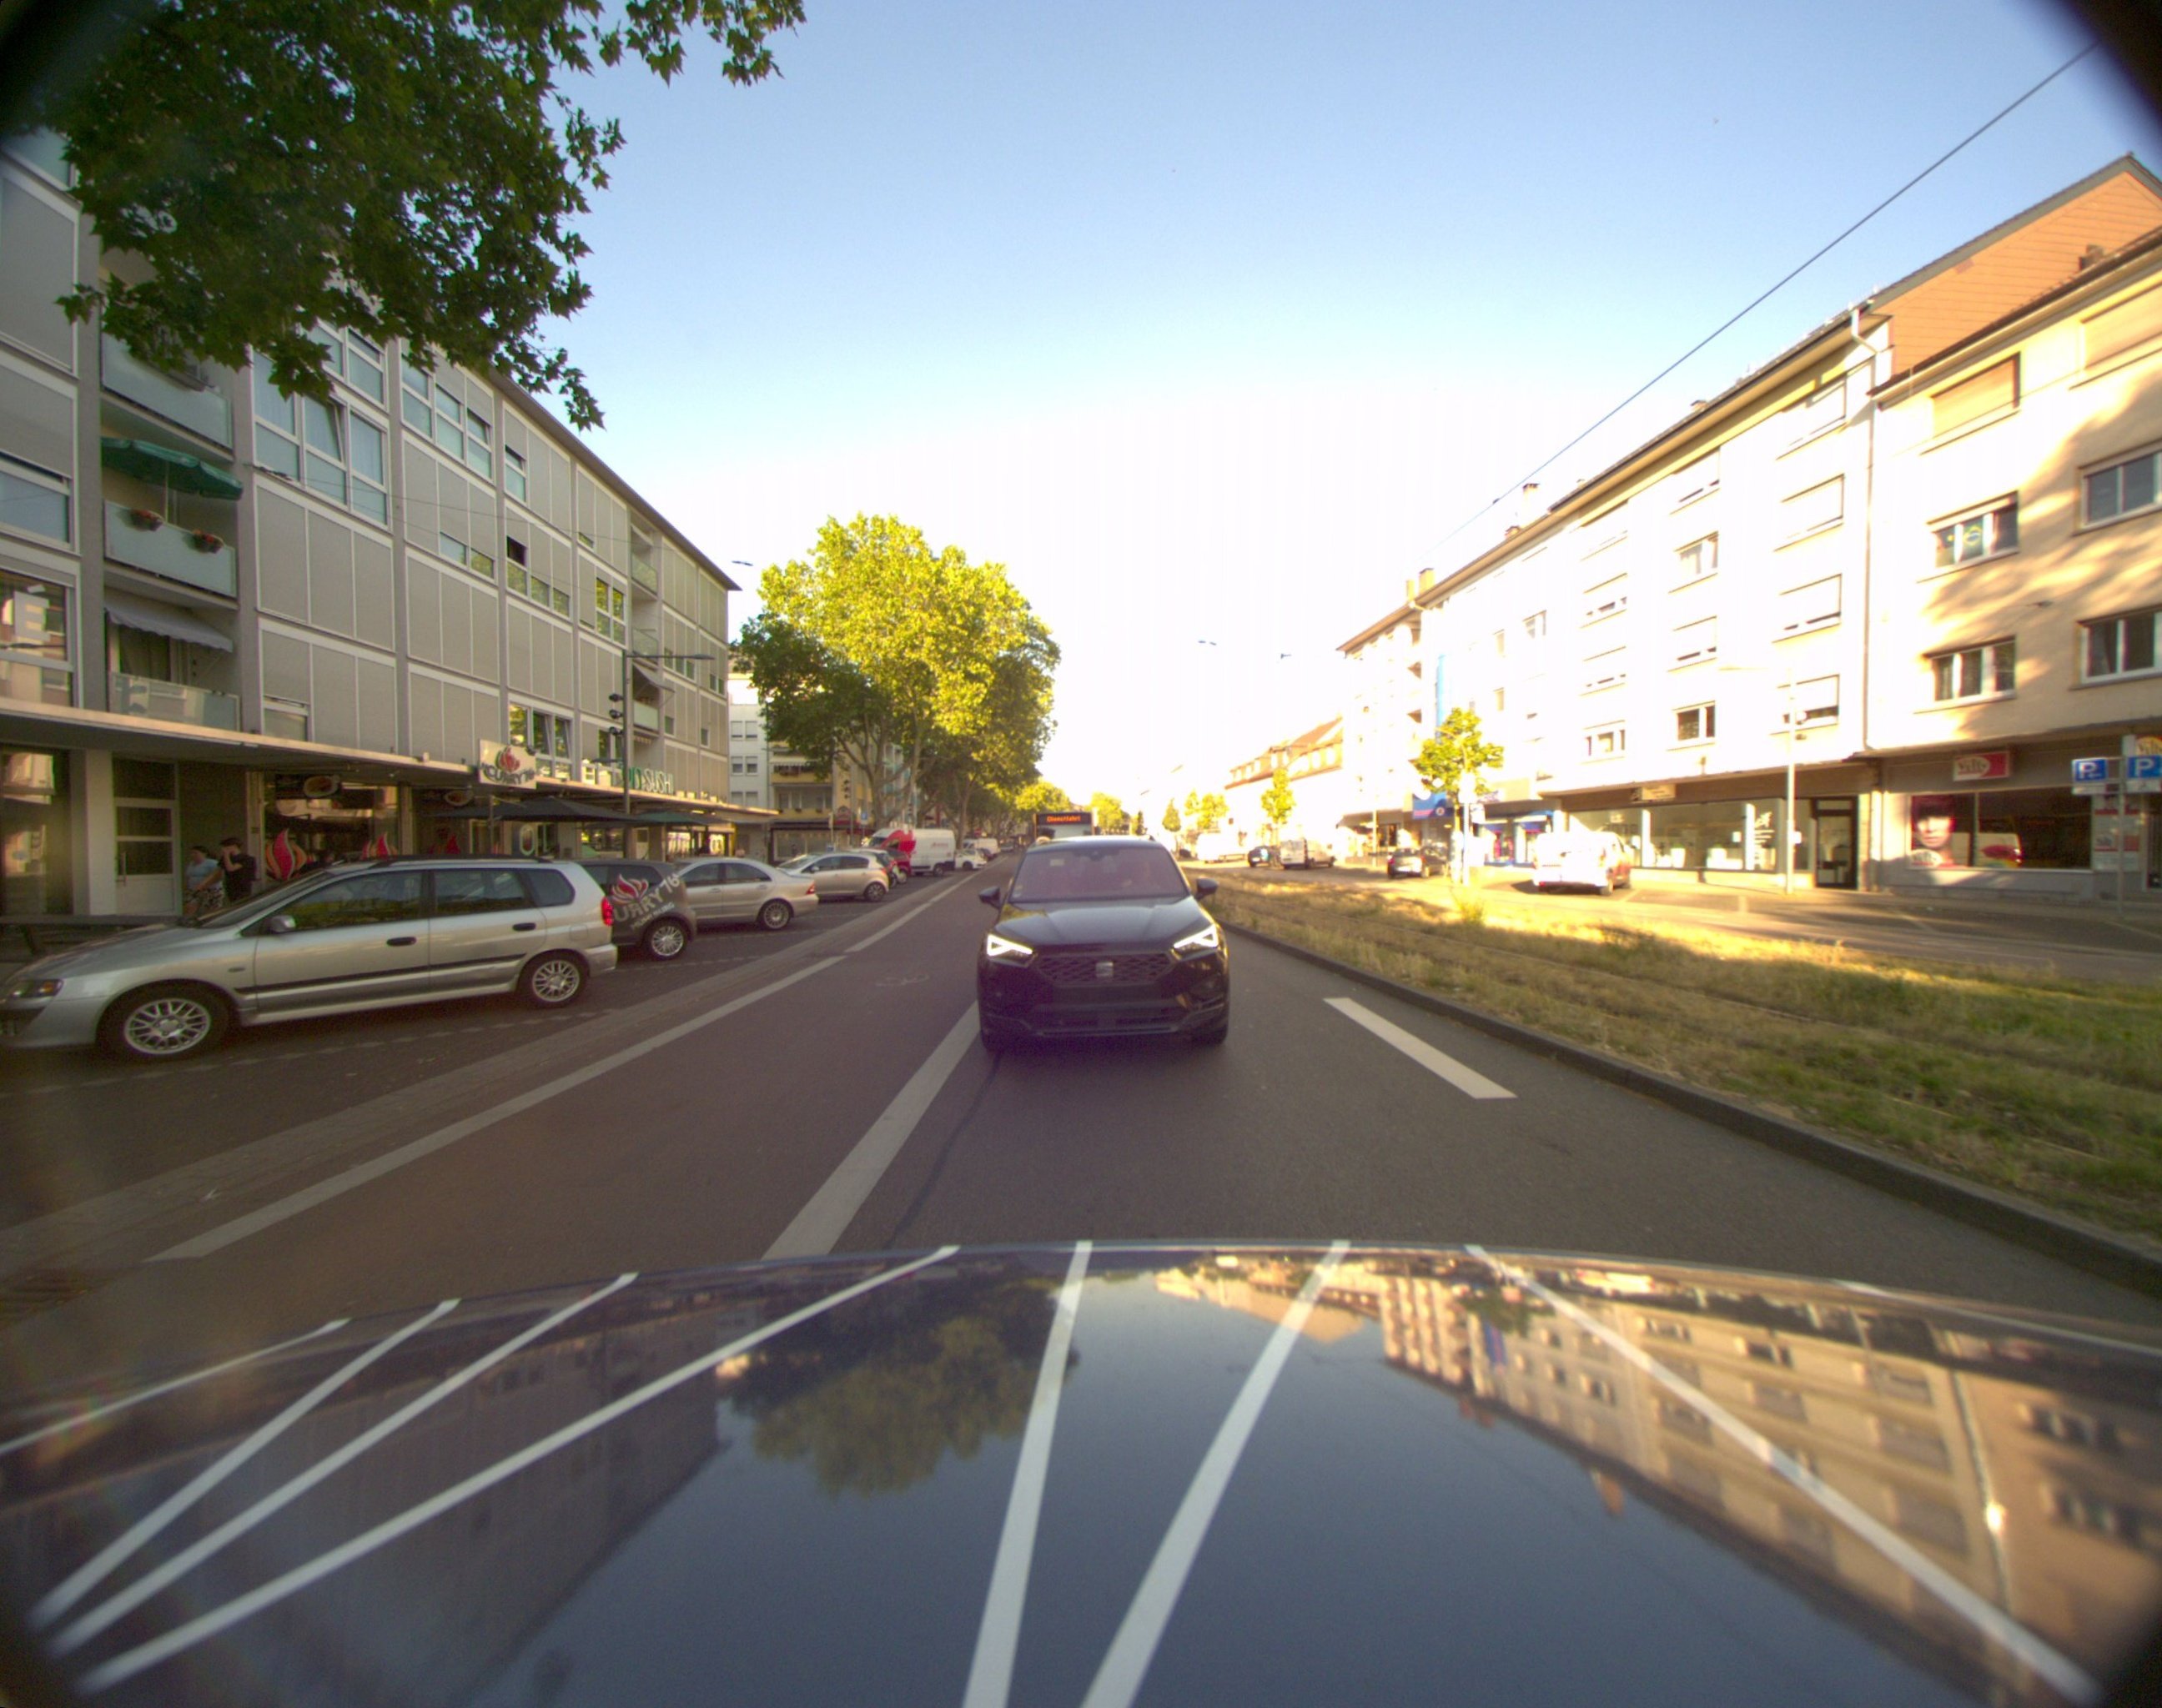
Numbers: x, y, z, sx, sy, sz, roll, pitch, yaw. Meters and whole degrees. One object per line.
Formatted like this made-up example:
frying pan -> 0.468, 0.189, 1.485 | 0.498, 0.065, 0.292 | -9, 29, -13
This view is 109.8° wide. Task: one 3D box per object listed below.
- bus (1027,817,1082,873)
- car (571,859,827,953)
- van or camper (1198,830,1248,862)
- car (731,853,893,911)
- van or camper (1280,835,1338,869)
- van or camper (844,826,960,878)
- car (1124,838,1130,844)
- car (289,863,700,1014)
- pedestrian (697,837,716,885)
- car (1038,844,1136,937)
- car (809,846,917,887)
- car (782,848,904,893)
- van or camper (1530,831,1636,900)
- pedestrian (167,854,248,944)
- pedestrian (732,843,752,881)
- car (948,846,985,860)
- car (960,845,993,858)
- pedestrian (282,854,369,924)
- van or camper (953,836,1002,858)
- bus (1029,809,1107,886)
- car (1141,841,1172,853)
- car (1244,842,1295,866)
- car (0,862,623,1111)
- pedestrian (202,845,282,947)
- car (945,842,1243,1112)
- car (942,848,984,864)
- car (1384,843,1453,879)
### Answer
bus -> -1.923, -0.696, 48.488 | 2.873, 2.962, 12.230 | -3, 2, -4
car -> -7.091, 0.862, 14.428 | 1.654, 1.428, 4.008 | 3, 2, 43
van or camper -> 13.043, -0.788, 69.574 | 1.994, 2.652, 6.409 | -1, 1, 34
car -> -7.565, 0.723, 21.572 | 4.008, 1.428, 1.654 | -1, 2, -44
van or camper -> 14.683, -0.170, 48.808 | 1.795, 1.978, 4.459 | -1, 2, 42
van or camper -> -9.033, -0.133, 38.671 | 5.474, 2.455, 1.994 | -1, 1, -44
car -> 14.966, -4.258, 248.555 | 1.869, 1.832, 3.826 | 0, 1, 2
car -> -7.547, 0.913, 10.141 | 1.804, 1.498, 4.008 | 1, 1, 38
pedestrian -> -15.829, 0.279, 32.148 | 0.552, 2.002, 0.576 | -3, 2, -18
car -> 0.100, 0.597, 14.984 | 1.658, 1.572, 3.999 | 0, 1, 0
car -> -8.943, 0.457, 31.361 | 4.008, 1.555, 1.654 | -1, 2, -44
car -> -8.733, 0.562, 28.081 | 4.008, 1.514, 1.654 | -1, 2, -44
van or camper -> 15.881, 0.293, 23.912 | 1.946, 1.887, 4.824 | -1, 2, 44
pedestrian -> -14.166, 0.718, 12.338 | 0.538, 1.393, 0.686 | 2, 1, -5
pedestrian -> -14.223, 0.321, 31.931 | 0.538, 1.582, 0.686 | 2, 1, -5
car -> -11.334, -0.112, 75.087 | 3.337, 1.339, 1.526 | -1, 2, -44
car -> -11.341, -0.238, 82.448 | 3.337, 1.339, 1.526 | -1, 2, -44
pedestrian -> -15.123, 0.681, 15.235 | 0.750, 1.354, 0.962 | 0, 1, 0
van or camper -> -11.662, -0.788, 85.827 | 1.994, 2.455, 5.474 | 1, 1, 44
bus -> -0.922, -0.454, 36.369 | 2.873, 2.962, 12.230 | -3, 2, -4
car -> 10.358, -0.937, 104.207 | 3.921, 1.482, 1.766 | -3, 1, -27
car -> 13.861, -0.027, 55.671 | 1.874, 1.577, 4.007 | -1, 1, 43
car -> -6.891, 0.925, 7.157 | 1.804, 1.597, 4.008 | 1, 1, 38
pedestrian -> -13.606, 0.662, 12.343 | 0.538, 1.582, 0.686 | 2, 1, -5
car -> 0.116, 0.745, 6.769 | 1.808, 1.638, 3.999 | -2, 1, 1
car -> -10.169, 0.152, 65.544 | 3.337, 1.339, 1.526 | -1, 2, -44
car -> 15.698, 0.297, 35.243 | 1.765, 1.482, 4.459 | -1, 1, 39
